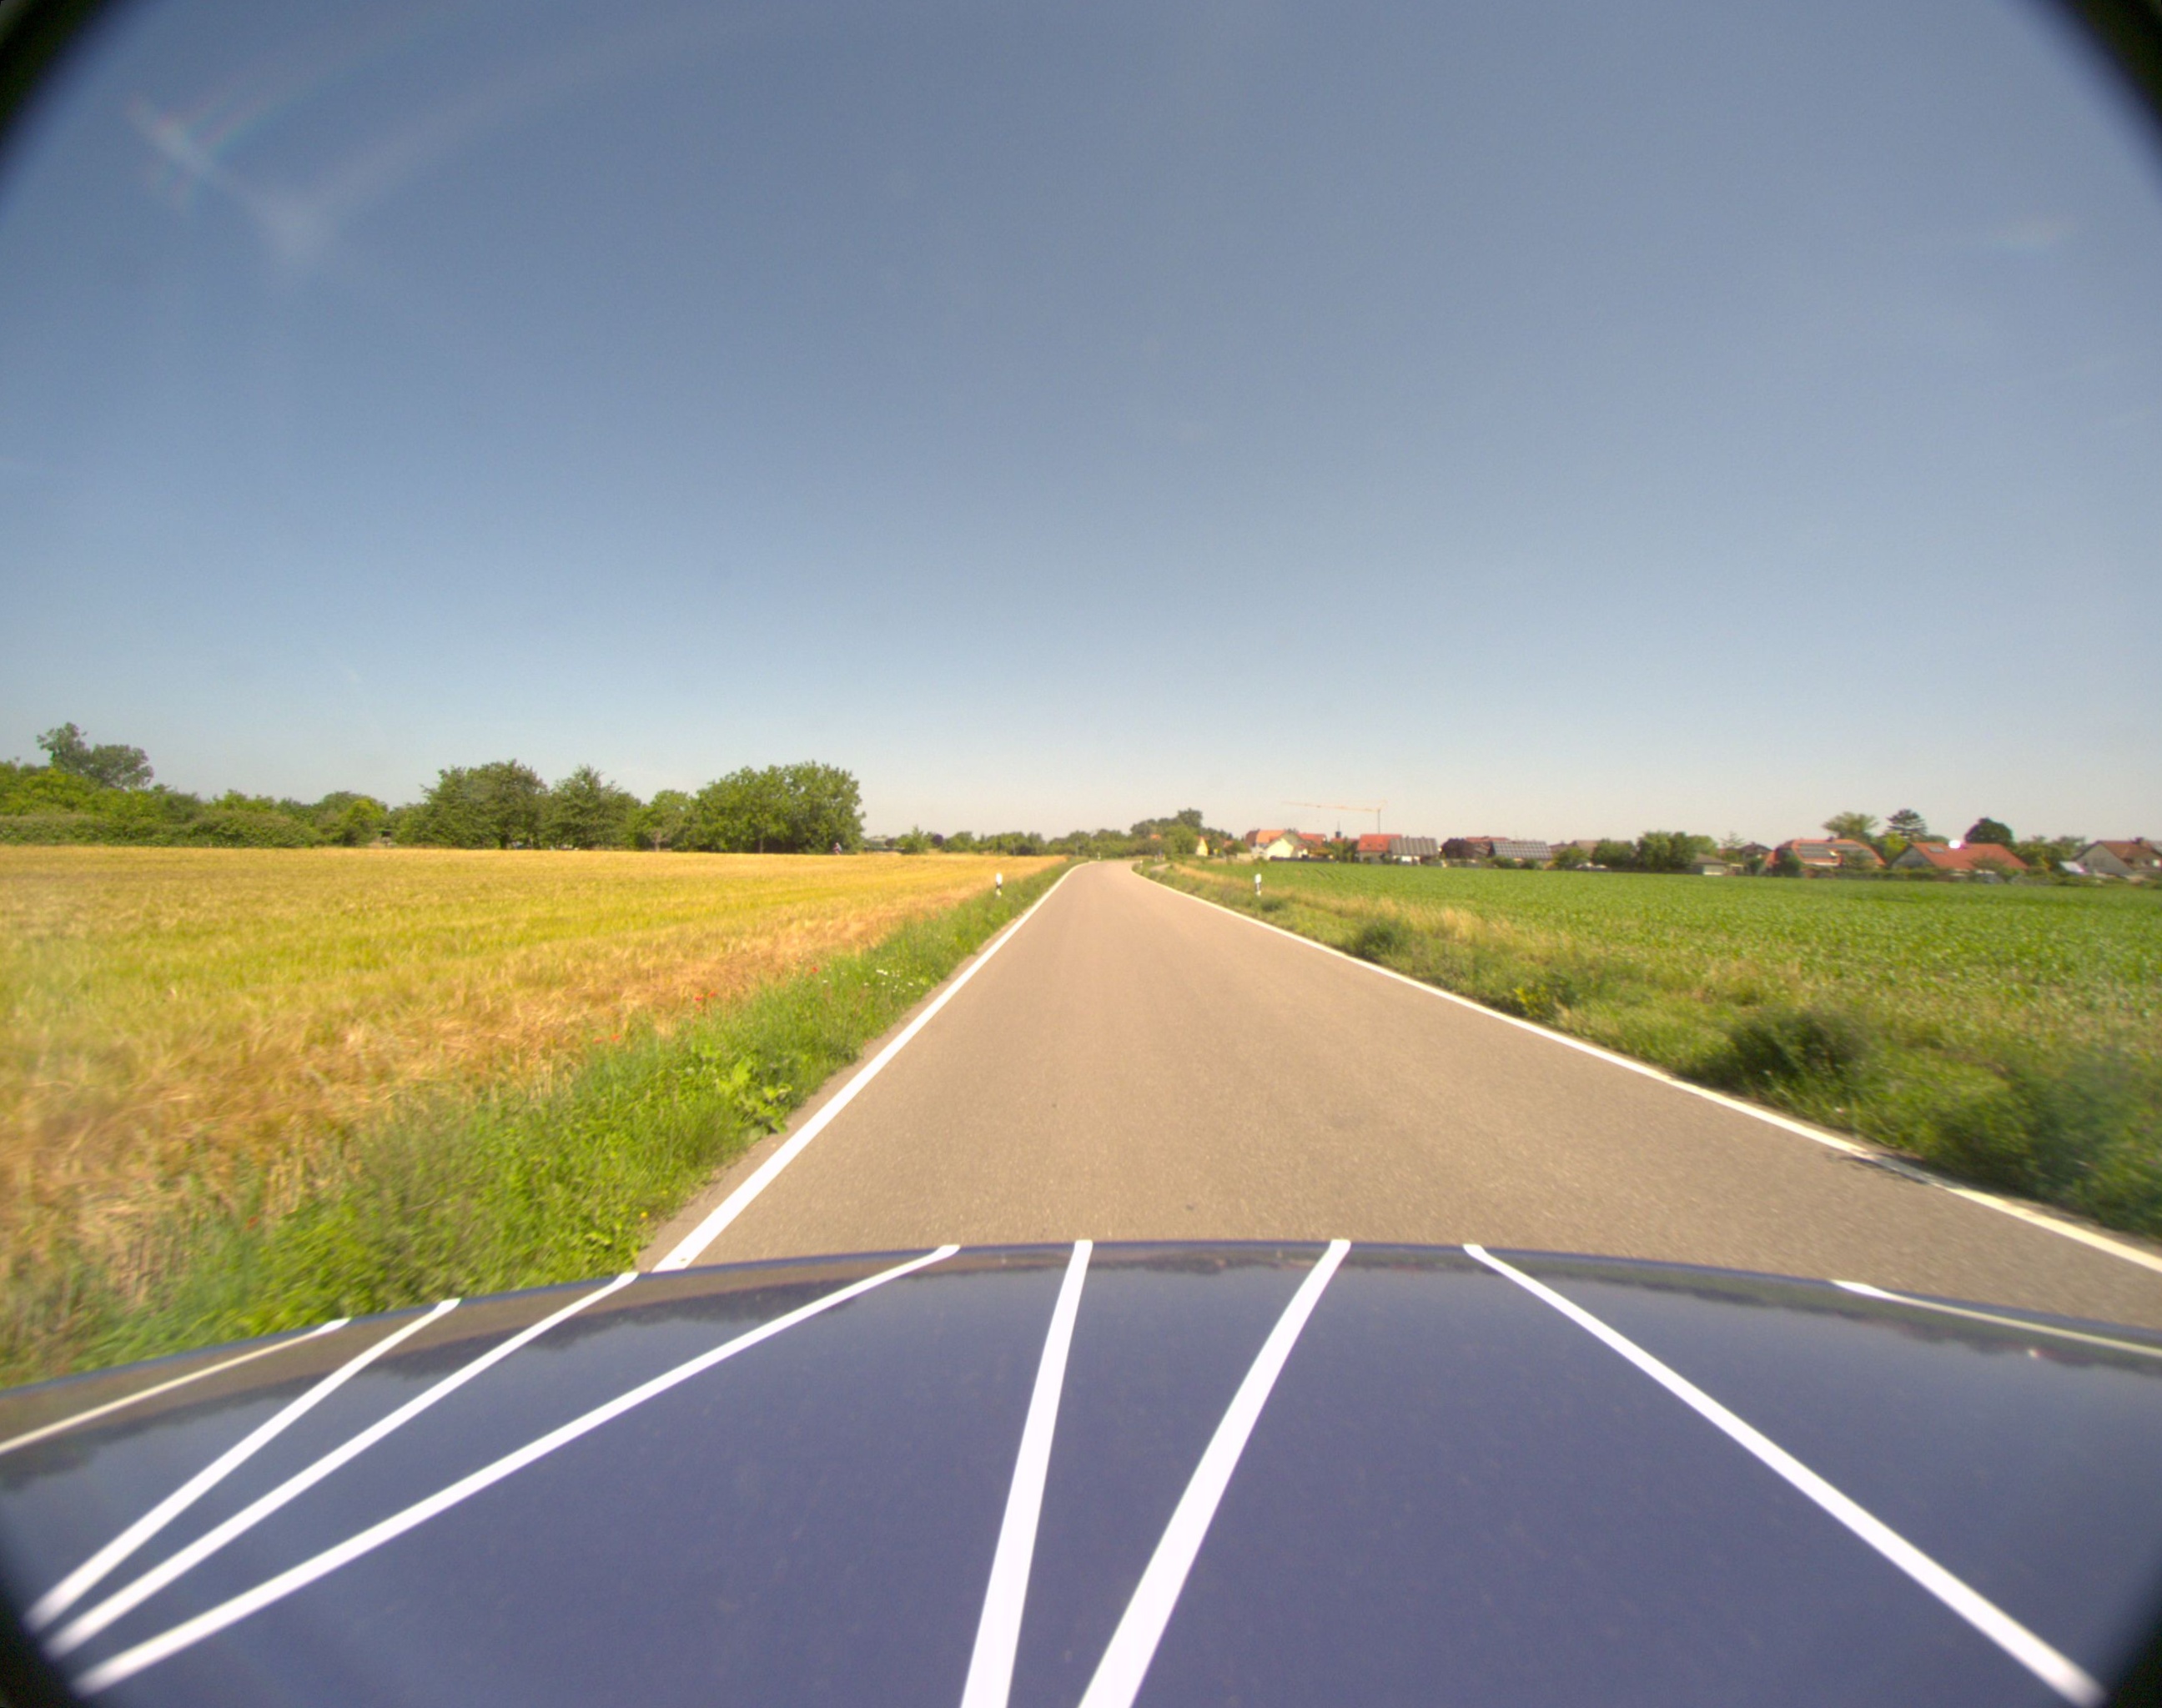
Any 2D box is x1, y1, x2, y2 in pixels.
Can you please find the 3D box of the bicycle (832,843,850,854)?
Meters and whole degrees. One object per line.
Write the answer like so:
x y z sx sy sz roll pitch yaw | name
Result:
-25.527 -0.618 80.773 1.773 1.109 0.520 1 1 -40 | bicycle

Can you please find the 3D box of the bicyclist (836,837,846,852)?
-25.533 -0.964 80.752 0.737 1.565 0.672 0 2 -40 | bicyclist
